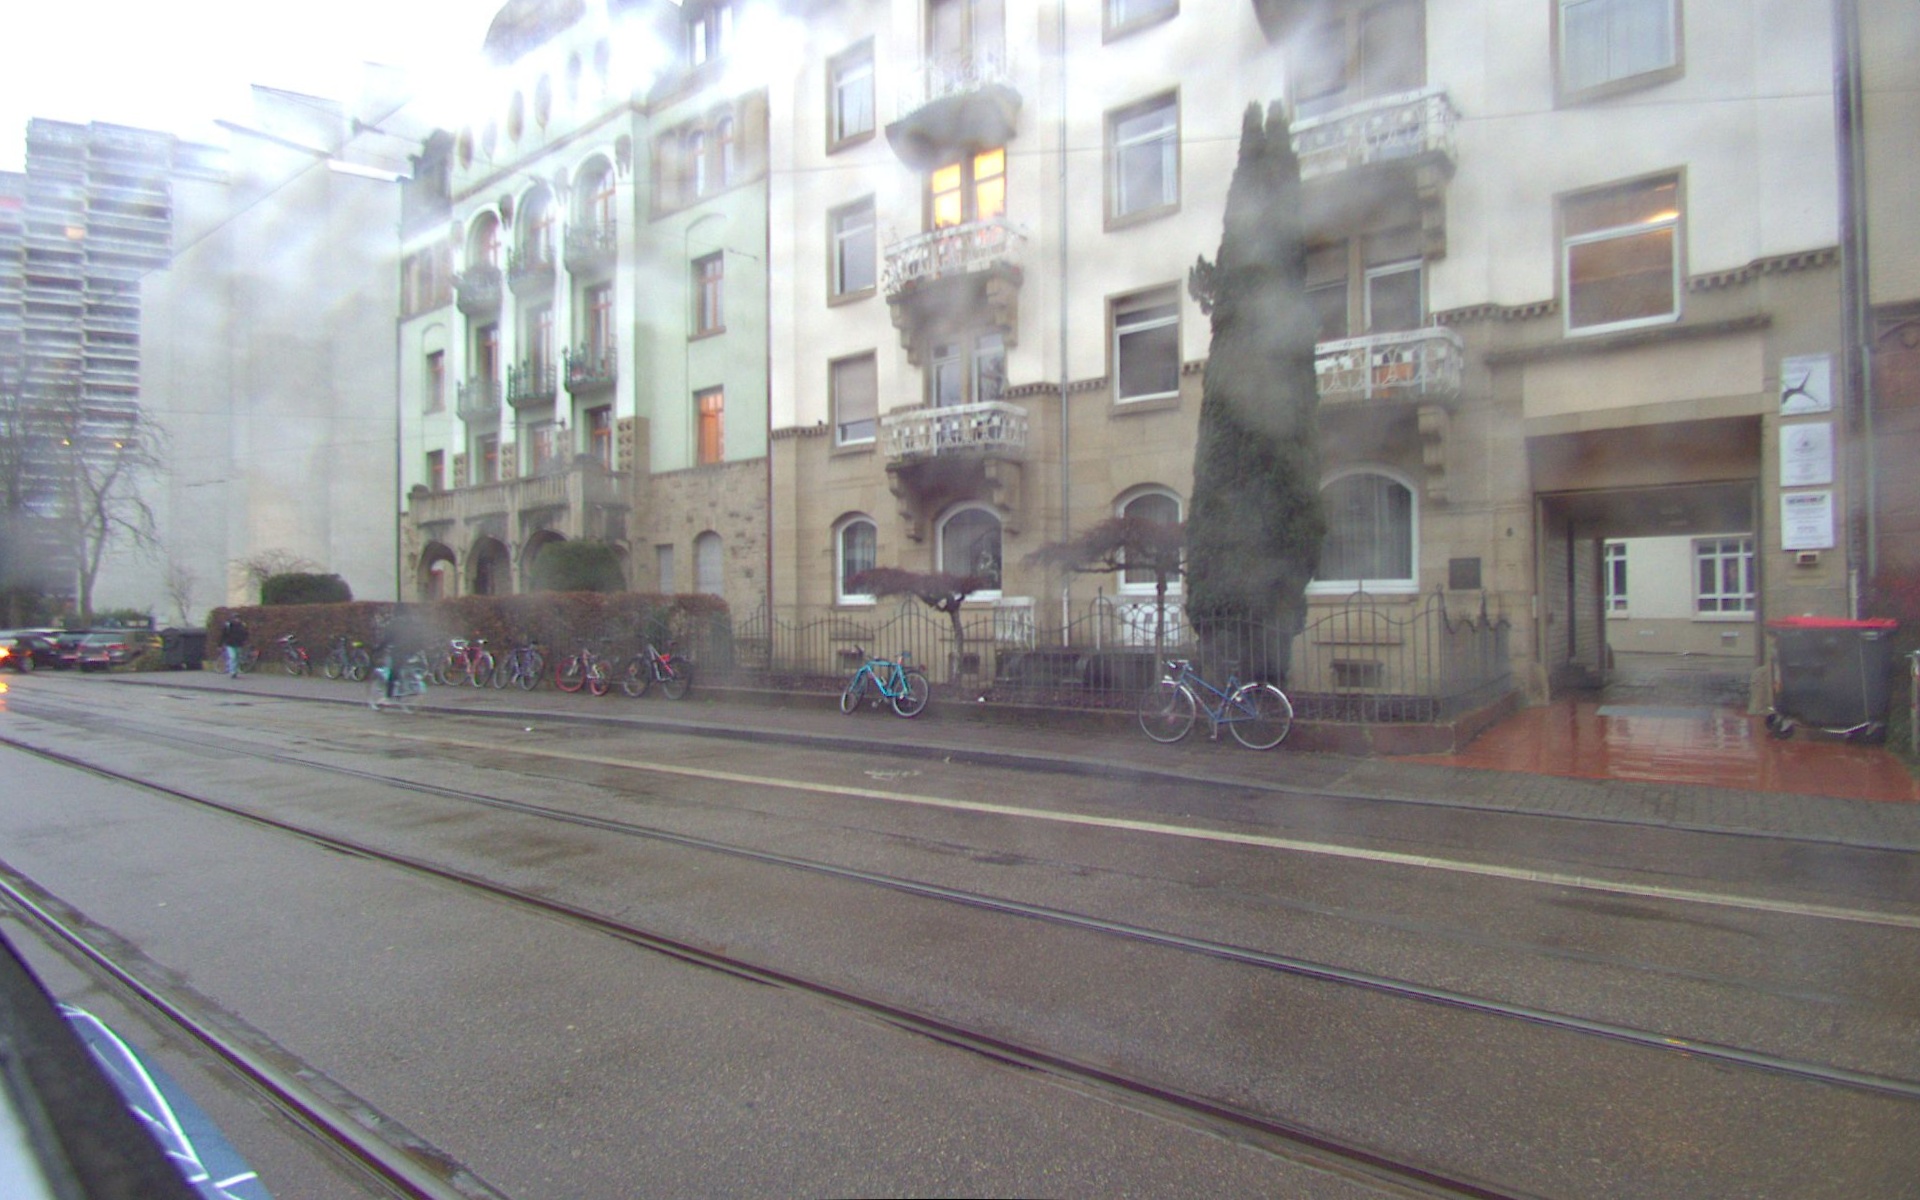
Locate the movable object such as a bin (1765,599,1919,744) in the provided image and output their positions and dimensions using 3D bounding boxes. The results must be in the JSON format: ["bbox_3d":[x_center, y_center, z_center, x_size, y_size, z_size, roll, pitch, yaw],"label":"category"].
[{"bbox_3d":[9.373,0.723,10.813,1.166,1.390,1.092,-2,1,39],"label":"movable object such as a bin"}]

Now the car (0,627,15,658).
[{"bbox_3d":[-52.399,2.276,53.129,1.843,1.608,3.999,-1,-1,0],"label":"car"}]

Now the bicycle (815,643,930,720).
[{"bbox_3d":[-1.258,1.125,14.317,1.661,1.010,0.617,-2,-2,40],"label":"bicycle"}]

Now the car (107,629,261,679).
[{"bbox_3d":[-26.114,1.785,34.232,1.847,1.505,3.989,-1,-1,8],"label":"car"}]

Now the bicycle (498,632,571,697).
[{"bbox_3d":[-8.311,1.235,19.744,1.661,1.221,0.617,-2,-2,40],"label":"bicycle"}]

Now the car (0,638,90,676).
[{"bbox_3d":[-33.206,1.992,35.812,1.687,1.262,3.666,0,-2,-1],"label":"car"}]

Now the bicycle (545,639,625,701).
[{"bbox_3d":[-6.927,1.262,18.658,1.725,1.073,0.617,-2,-2,40],"label":"bicycle"}]

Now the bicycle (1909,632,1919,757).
[{"bbox_3d":[8.700,0.892,8.605,0.694,1.114,2.326,-2,1,38],"label":"bicycle"}]

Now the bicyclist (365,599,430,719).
[{"bbox_3d":[-9.208,0.946,16.556,0.990,1.891,0.617,-2,-2,40],"label":"bicyclist"}]

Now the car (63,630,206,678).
[{"bbox_3d":[-28.646,1.835,35.298,1.740,1.497,3.999,-1,-1,0],"label":"car"}]

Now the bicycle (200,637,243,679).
[{"bbox_3d":[-21.575,1.679,29.562,1.661,1.173,0.617,-2,-1,40],"label":"bicycle"}]

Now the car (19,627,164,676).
[{"bbox_3d":[-31.350,1.824,36.708,1.843,1.608,3.999,-1,-1,0],"label":"car"}]

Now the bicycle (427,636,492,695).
[{"bbox_3d":[-10.537,1.359,21.284,1.661,1.173,0.617,-2,-2,40],"label":"bicycle"}]

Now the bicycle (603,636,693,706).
[{"bbox_3d":[-5.405,1.197,17.496,1.781,1.134,0.617,-2,-2,40],"label":"bicycle"}]

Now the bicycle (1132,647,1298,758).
[{"bbox_3d":[2.783,1.086,11.149,1.661,1.101,0.617,-2,-2,40],"label":"bicycle"}]

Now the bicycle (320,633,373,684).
[{"bbox_3d":[-15.200,1.434,25.048,1.661,1.221,0.617,-2,-2,40],"label":"bicycle"}]

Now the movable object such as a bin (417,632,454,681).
[{"bbox_3d":[-13.032,1.394,25.144,0.674,1.173,0.617,-2,-2,40],"label":"movable object such as a bin"}]

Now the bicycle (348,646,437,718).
[{"bbox_3d":[-9.382,1.323,16.701,1.946,1.101,0.617,-2,-2,40],"label":"bicycle"}]

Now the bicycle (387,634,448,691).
[{"bbox_3d":[-12.126,1.372,22.610,1.661,1.221,0.617,-2,-2,40],"label":"bicycle"}]

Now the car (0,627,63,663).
[{"bbox_3d":[-44.595,2.083,47.295,1.843,1.608,3.999,-1,-1,0],"label":"car"}]

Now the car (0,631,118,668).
[{"bbox_3d":[-39.354,2.137,44.186,1.843,1.460,3.999,-1,-1,0],"label":"car"}]

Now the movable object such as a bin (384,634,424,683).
[{"bbox_3d":[-13.500,1.414,24.593,0.674,1.173,0.651,-2,-2,40],"label":"movable object such as a bin"}]

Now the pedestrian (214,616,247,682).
[{"bbox_3d":[-19.466,1.294,27.008,0.644,1.738,0.567,0,1,41],"label":"pedestrian"}]

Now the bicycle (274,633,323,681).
[{"bbox_3d":[-17.240,1.468,26.361,1.661,1.221,0.617,-2,-2,40],"label":"bicycle"}]

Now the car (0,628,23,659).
[{"bbox_3d":[-49.979,2.229,51.020,1.843,1.608,3.999,-1,-1,0],"label":"car"}]
